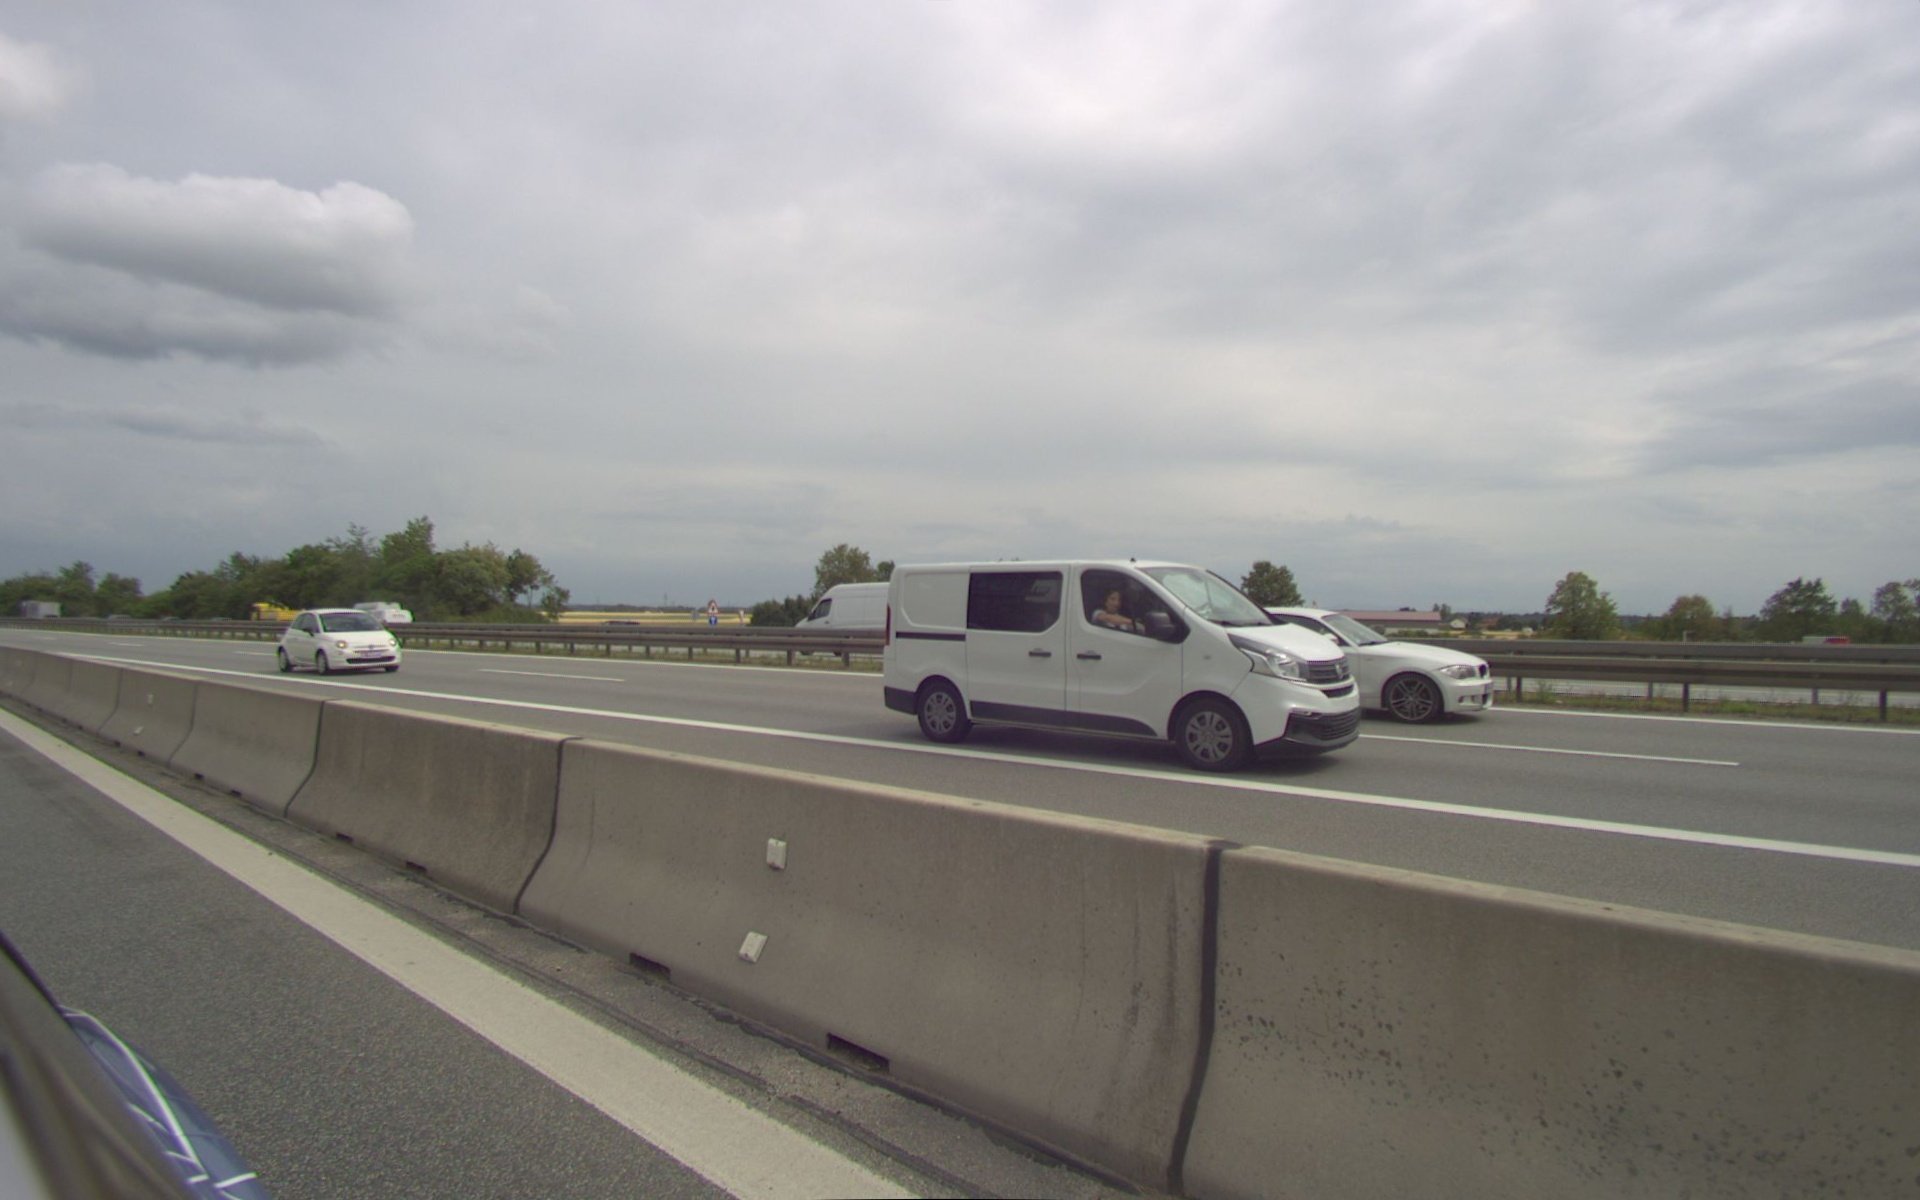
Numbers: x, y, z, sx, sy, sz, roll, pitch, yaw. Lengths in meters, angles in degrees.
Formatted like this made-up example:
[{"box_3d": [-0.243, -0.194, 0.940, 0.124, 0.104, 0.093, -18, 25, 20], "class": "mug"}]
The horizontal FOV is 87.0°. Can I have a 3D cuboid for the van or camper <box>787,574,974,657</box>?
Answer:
[{"box_3d": [-2.895, 0.542, 35.447, 6.895, 2.639, 2.166, -1, -1, 38], "class": "van or camper"}]

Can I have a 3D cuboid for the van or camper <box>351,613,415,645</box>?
[{"box_3d": [-34.900, 1.729, 61.146, 4.343, 1.842, 1.974, -1, -1, 39], "class": "van or camper"}]

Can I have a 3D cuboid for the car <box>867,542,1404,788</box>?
[{"box_3d": [1.593, 0.521, 10.407, 5.125, 1.952, 1.981, -1, 0, 38], "class": "car"}]

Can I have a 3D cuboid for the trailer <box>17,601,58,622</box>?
[{"box_3d": [-144.416, 1.814, 158.398, 9.810, 3.294, 3.167, -1, -1, 38], "class": "trailer"}]

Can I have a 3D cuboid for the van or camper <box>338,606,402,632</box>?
[{"box_3d": [-48.141, 1.521, 82.522, 6.266, 2.029, 2.215, -1, -1, 36], "class": "van or camper"}]

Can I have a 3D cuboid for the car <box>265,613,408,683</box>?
[{"box_3d": [-14.702, 1.067, 23.799, 3.769, 1.496, 1.665, -1, -1, 38], "class": "car"}]

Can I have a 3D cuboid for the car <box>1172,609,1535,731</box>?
[{"box_3d": [5.110, 0.811, 13.402, 4.198, 1.379, 1.736, 0, -1, 37], "class": "car"}]

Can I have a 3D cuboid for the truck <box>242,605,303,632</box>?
[{"box_3d": [-72.361, 1.940, 106.448, 8.770, 2.795, 2.878, -1, -1, 39], "class": "truck"}]
